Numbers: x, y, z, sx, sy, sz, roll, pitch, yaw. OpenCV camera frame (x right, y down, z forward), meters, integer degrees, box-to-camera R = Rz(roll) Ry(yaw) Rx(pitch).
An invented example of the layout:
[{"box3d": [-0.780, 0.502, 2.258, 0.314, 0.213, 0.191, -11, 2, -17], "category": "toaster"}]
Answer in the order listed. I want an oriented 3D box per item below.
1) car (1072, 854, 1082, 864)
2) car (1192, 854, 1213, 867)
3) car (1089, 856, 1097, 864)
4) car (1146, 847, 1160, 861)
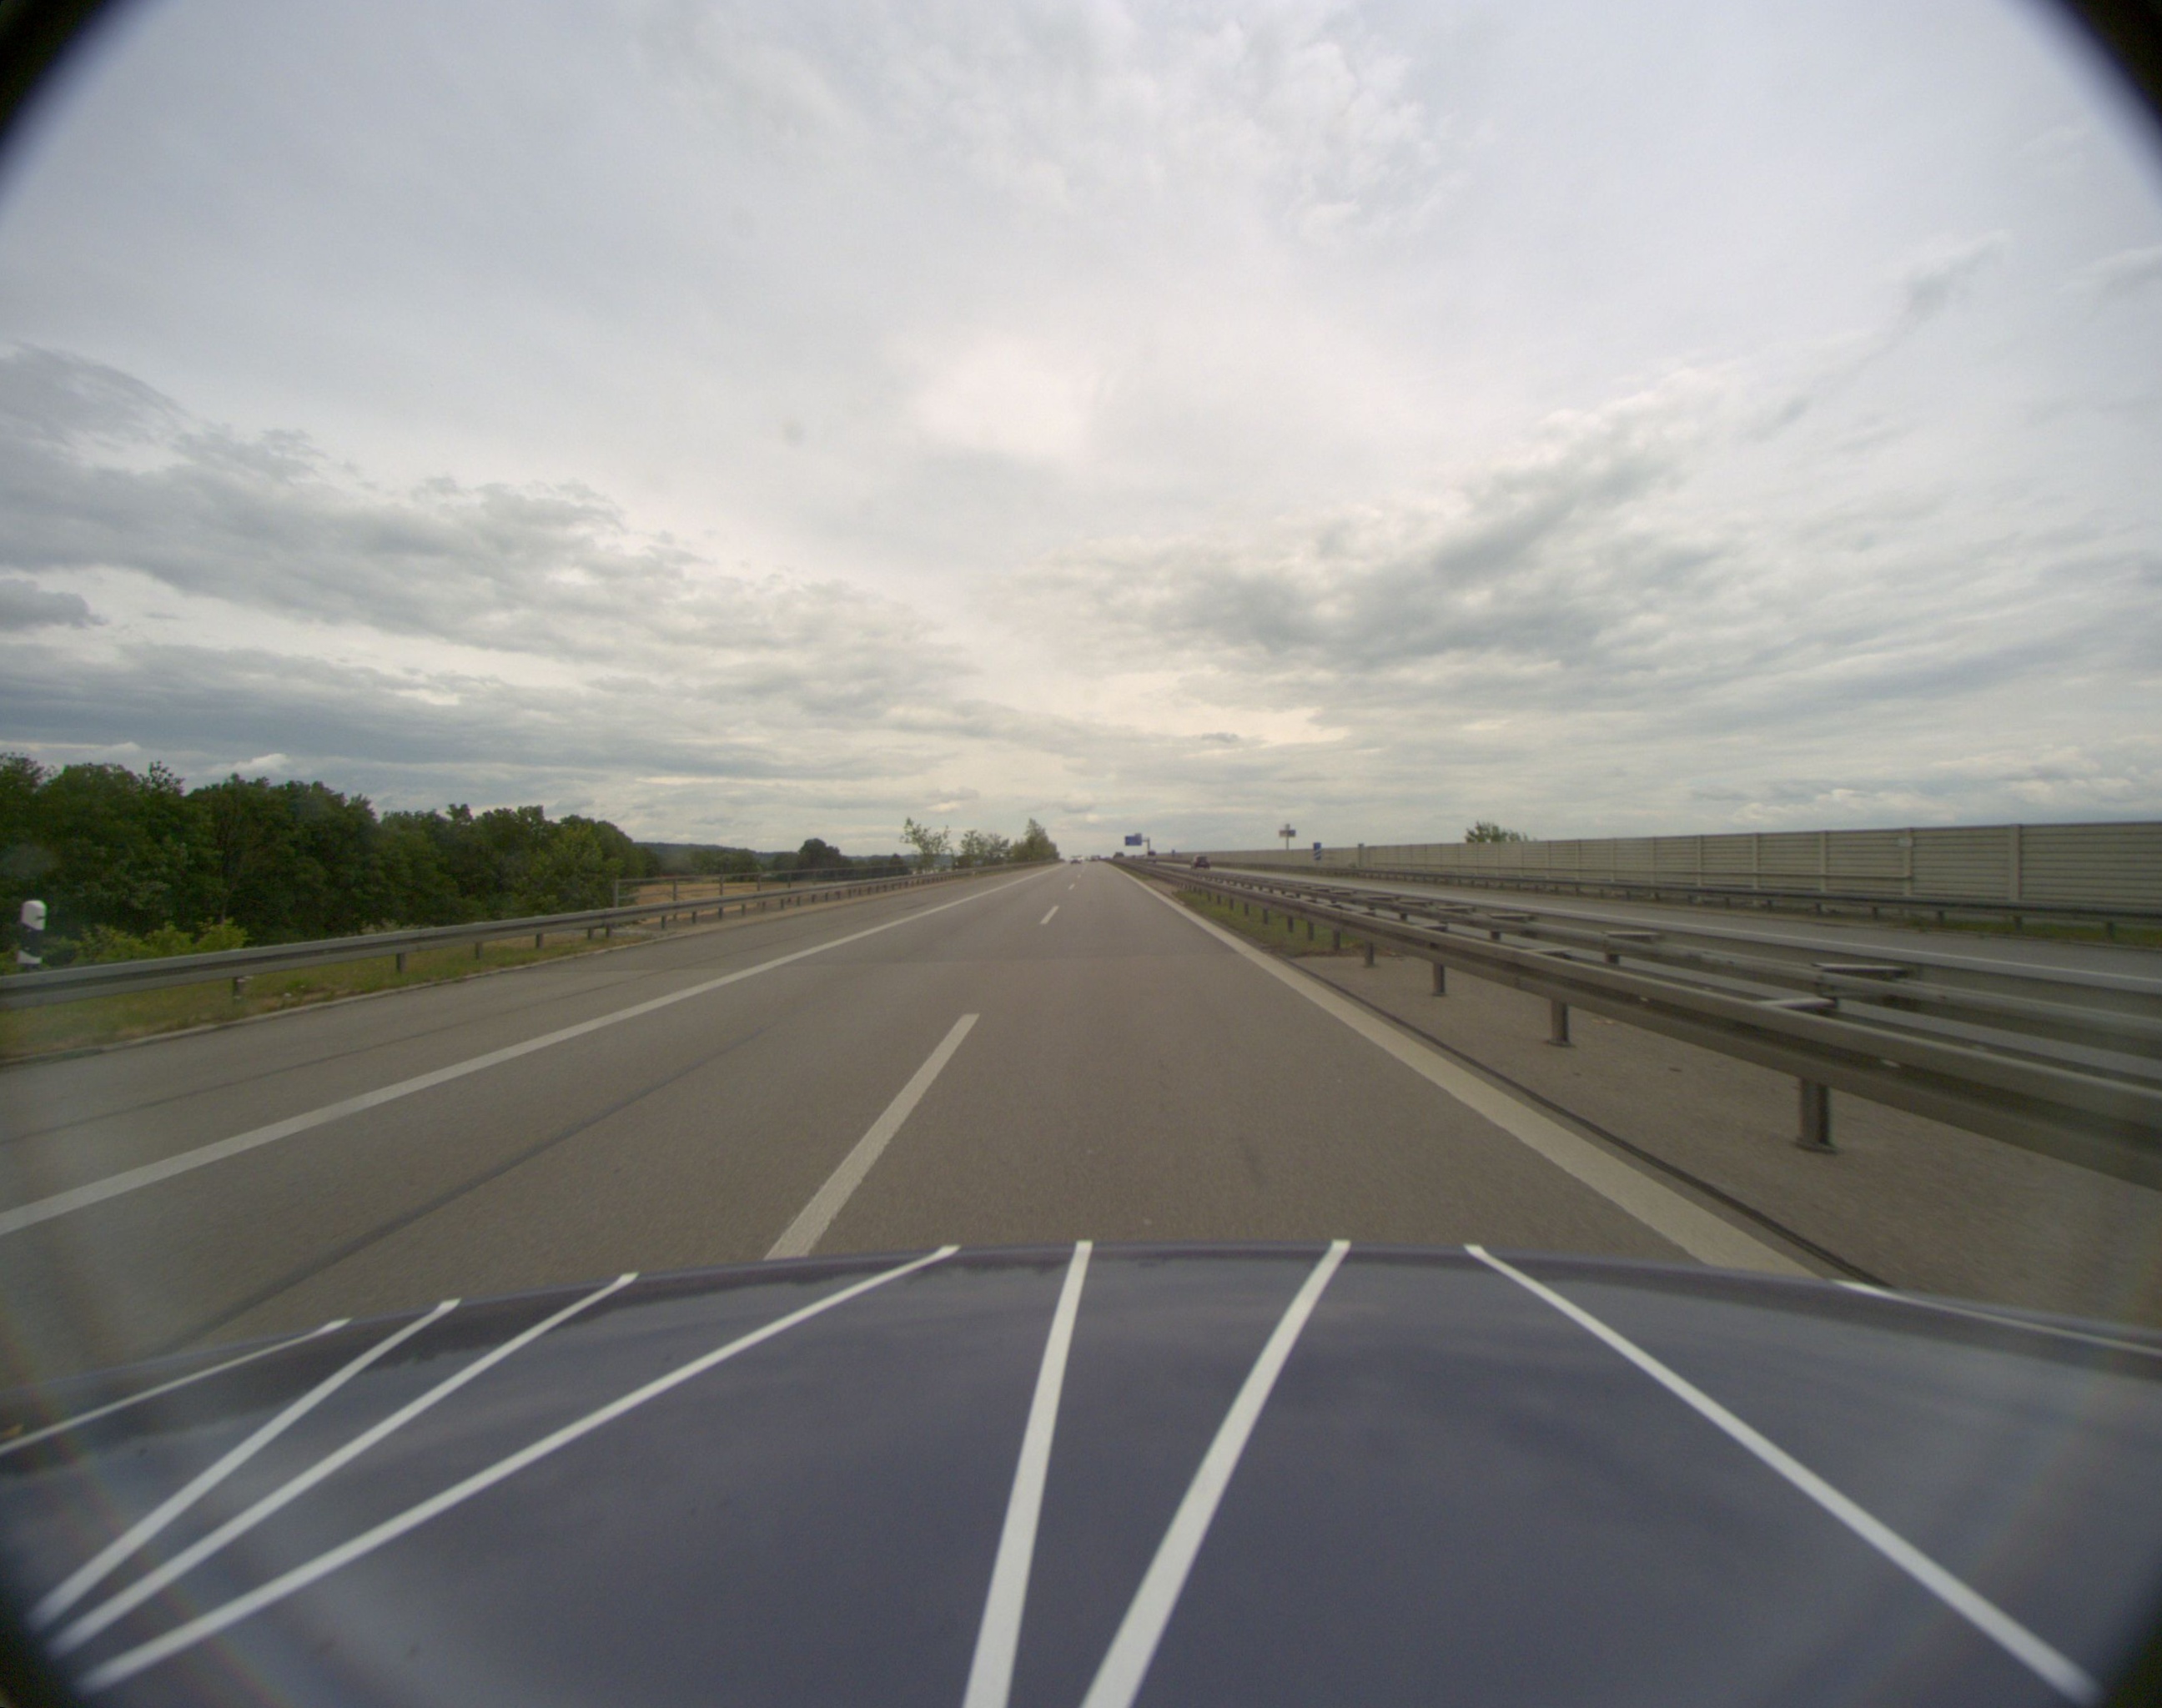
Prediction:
[{"box3d": [-0.731, 0.961, 139.872, 1.850, 1.664, 4.200, 1, -2, -1], "category": "car"}, {"box3d": [13.516, 0.680, 84.533, 1.674, 1.378, 4.000, 1, 0, 1], "category": "car"}, {"box3d": [2.718, 1.315, 173.251, 1.850, 1.664, 4.200, 1, -2, -1], "category": "car"}, {"box3d": [14.103, -0.101, 149.511, 2.075, 2.588, 6.289, 3, 0, 1], "category": "car"}]
